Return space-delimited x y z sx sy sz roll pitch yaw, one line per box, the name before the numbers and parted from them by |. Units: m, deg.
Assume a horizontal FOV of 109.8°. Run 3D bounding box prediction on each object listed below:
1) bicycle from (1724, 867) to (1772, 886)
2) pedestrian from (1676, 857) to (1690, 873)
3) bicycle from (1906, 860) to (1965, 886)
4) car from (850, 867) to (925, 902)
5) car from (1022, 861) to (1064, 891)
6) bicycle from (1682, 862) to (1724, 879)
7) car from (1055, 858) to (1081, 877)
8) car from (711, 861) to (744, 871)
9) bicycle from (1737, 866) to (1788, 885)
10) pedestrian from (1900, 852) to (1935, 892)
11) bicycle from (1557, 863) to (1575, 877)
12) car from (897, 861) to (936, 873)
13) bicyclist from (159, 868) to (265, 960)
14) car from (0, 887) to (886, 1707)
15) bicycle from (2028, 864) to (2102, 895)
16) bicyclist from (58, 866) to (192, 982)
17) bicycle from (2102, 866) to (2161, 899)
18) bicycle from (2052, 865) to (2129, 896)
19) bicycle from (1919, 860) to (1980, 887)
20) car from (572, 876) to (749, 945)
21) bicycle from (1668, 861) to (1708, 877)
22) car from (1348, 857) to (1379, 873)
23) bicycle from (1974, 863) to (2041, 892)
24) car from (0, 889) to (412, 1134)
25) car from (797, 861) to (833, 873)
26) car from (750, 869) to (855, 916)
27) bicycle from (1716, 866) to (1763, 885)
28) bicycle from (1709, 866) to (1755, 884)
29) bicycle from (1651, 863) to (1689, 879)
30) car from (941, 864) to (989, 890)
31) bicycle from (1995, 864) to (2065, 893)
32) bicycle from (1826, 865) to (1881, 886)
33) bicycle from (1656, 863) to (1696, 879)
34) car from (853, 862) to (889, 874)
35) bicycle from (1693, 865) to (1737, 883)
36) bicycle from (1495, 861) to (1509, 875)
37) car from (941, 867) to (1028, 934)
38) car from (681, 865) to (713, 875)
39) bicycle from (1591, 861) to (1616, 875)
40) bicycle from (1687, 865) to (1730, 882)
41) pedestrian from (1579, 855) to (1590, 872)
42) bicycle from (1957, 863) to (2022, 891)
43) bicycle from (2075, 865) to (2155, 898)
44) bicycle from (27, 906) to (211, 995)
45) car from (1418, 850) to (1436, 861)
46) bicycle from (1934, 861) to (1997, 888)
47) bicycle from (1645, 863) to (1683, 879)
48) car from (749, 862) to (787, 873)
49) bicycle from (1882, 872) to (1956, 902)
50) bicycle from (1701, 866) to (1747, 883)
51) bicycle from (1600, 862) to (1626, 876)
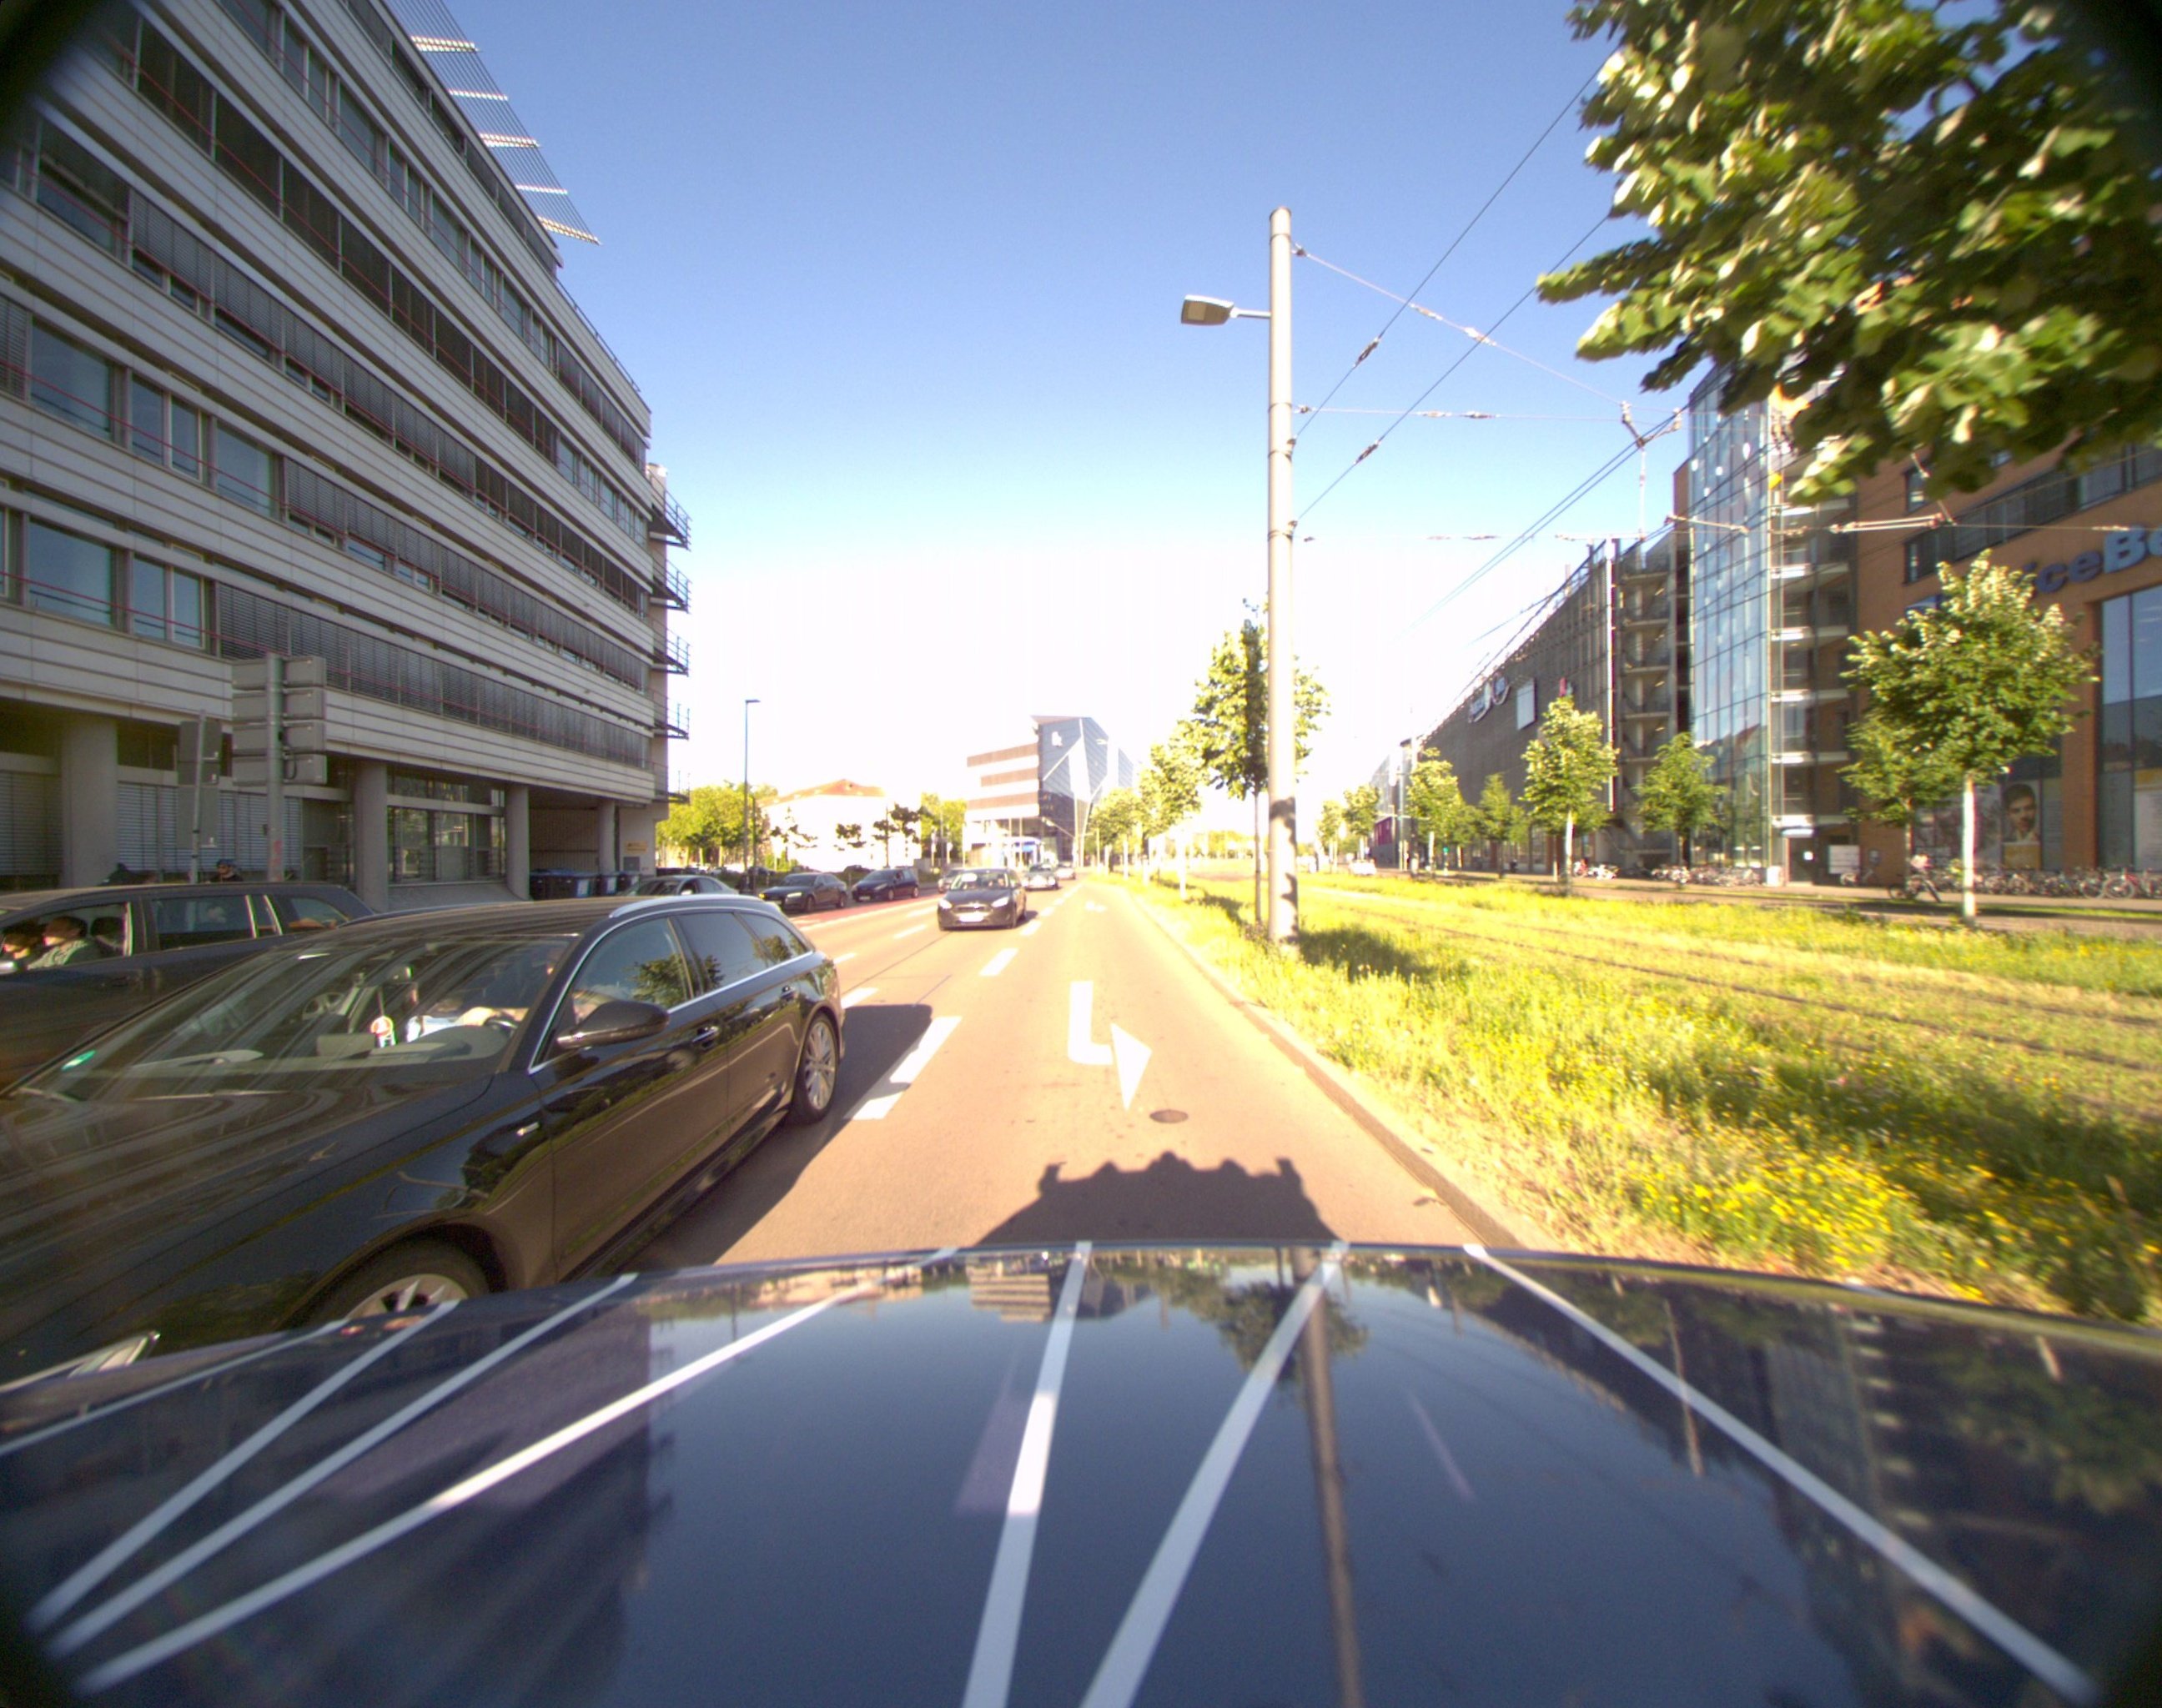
bicycle | 33.617 1.118 38.311 1.768 0.921 0.565 -1 1 16
pedestrian | 39.369 0.725 49.690 0.629 1.048 0.450 -1 1 12
bicycle | 35.459 0.794 31.545 1.769 1.043 0.491 -1 1 7
car | -8.978 1.372 35.564 1.734 1.437 4.004 -2 0 12
car | -2.024 1.186 41.907 1.748 1.496 3.882 -1 0 5
bicycle | 34.807 0.939 42.512 1.768 0.921 0.491 -1 1 16
car | -1.062 1.066 62.489 1.619 1.421 3.769 -2 0 6
car | -48.848 1.668 104.923 3.990 1.237 2.003 -1 0 25
bicycle | 33.413 1.069 37.271 1.768 0.921 0.565 -1 1 16
pedestrian | 35.585 0.767 32.316 0.746 1.659 0.676 -1 1 5
bicycle | 31.304 1.027 49.071 0.386 0.863 1.773 -1 0 12
car | -20.630 1.662 95.263 4.285 1.414 2.003 -1 0 19
bicyclist | -15.574 1.045 13.646 0.625 1.557 1.044 -1 1 5
car | -2.439 1.023 2.906 1.815 1.483 4.497 -3 0 5
bicycle | 34.690 0.903 26.795 1.769 1.043 0.491 -1 1 7
bicyclist | -14.011 0.999 11.170 0.685 1.608 0.991 -1 0 1
bicycle | 34.392 0.921 24.623 1.769 1.043 0.491 -1 1 7
bicycle | 34.593 0.909 26.055 1.769 1.043 0.491 -1 1 7
bicycle | 35.398 0.799 30.986 1.769 1.043 0.491 -1 1 7
car | -10.533 1.340 19.489 1.754 1.423 4.490 -1 0 5
bicycle | 35.082 0.882 43.919 1.768 0.921 0.491 -1 1 16
car | 24.124 0.898 65.020 1.809 1.320 4.409 0 0 12
bicycle | 35.076 0.883 28.776 1.769 1.043 0.491 -1 1 7
car | -8.509 1.211 6.186 1.691 1.619 4.466 -1 0 11
car | -35.002 1.693 99.925 3.991 1.414 2.003 -1 0 19
car | -10.009 1.361 27.690 1.713 1.432 4.114 -4 -1 9
bicycle | 33.863 1.106 39.089 1.768 0.921 0.565 -1 1 16
bicycle | 34.067 1.097 39.796 1.768 0.921 0.565 -1 1 16
bicycle | 35.438 1.027 45.752 1.768 0.921 0.491 -1 1 16
car | -6.672 1.319 44.072 1.437 1.437 4.004 0 -1 12
bicycle | 34.998 0.888 28.033 1.769 1.043 0.491 -1 1 7
bicycle | 36.336 1.010 35.734 1.768 0.921 0.565 -1 1 16
bicycle | 35.287 1.035 45.073 1.768 0.921 0.565 -1 1 16
car | -27.097 1.797 97.850 3.991 1.414 2.003 -1 0 19
bicycle | 34.367 1.081 41.182 1.768 0.921 0.565 -1 1 16
bicycle | 30.101 1.005 54.323 0.386 0.918 1.773 -1 0 12
car | -2.295 1.068 18.989 1.690 1.425 4.152 -1 0 -1
car | -54.352 2.308 107.501 3.990 1.368 1.938 -1 0 25
bicycle | 36.378 0.984 52.897 1.398 0.921 0.462 -1 1 16
bicycle | 34.574 1.071 41.880 1.768 0.921 0.565 -1 1 16
pedestrian | 36.880 0.691 55.689 0.448 1.282 0.630 -1 1 12
bicycle | 35.150 0.878 29.413 1.769 1.043 0.491 -1 1 7
bicycle | 34.506 0.915 25.369 1.769 1.043 0.491 -1 1 7
bicycle | -13.898 1.354 11.060 0.505 1.052 1.702 1 1 1
car | 51.162 0.233 112.531 1.582 1.521 3.754 -2 0 11
bicycle | 35.342 0.803 30.366 1.769 1.043 0.491 -1 1 7
bicycle | 35.650 1.046 46.468 1.768 0.921 0.491 -1 1 16
car | -42.114 1.839 102.320 4.516 1.414 2.003 -1 0 19
bicycle | 27.231 1.056 24.730 0.464 0.863 1.771 -1 0 0
bicycle | 34.226 1.089 40.461 1.768 0.921 0.565 -1 1 16
bicycle | 36.024 1.001 51.476 1.398 0.921 0.462 -1 1 16
